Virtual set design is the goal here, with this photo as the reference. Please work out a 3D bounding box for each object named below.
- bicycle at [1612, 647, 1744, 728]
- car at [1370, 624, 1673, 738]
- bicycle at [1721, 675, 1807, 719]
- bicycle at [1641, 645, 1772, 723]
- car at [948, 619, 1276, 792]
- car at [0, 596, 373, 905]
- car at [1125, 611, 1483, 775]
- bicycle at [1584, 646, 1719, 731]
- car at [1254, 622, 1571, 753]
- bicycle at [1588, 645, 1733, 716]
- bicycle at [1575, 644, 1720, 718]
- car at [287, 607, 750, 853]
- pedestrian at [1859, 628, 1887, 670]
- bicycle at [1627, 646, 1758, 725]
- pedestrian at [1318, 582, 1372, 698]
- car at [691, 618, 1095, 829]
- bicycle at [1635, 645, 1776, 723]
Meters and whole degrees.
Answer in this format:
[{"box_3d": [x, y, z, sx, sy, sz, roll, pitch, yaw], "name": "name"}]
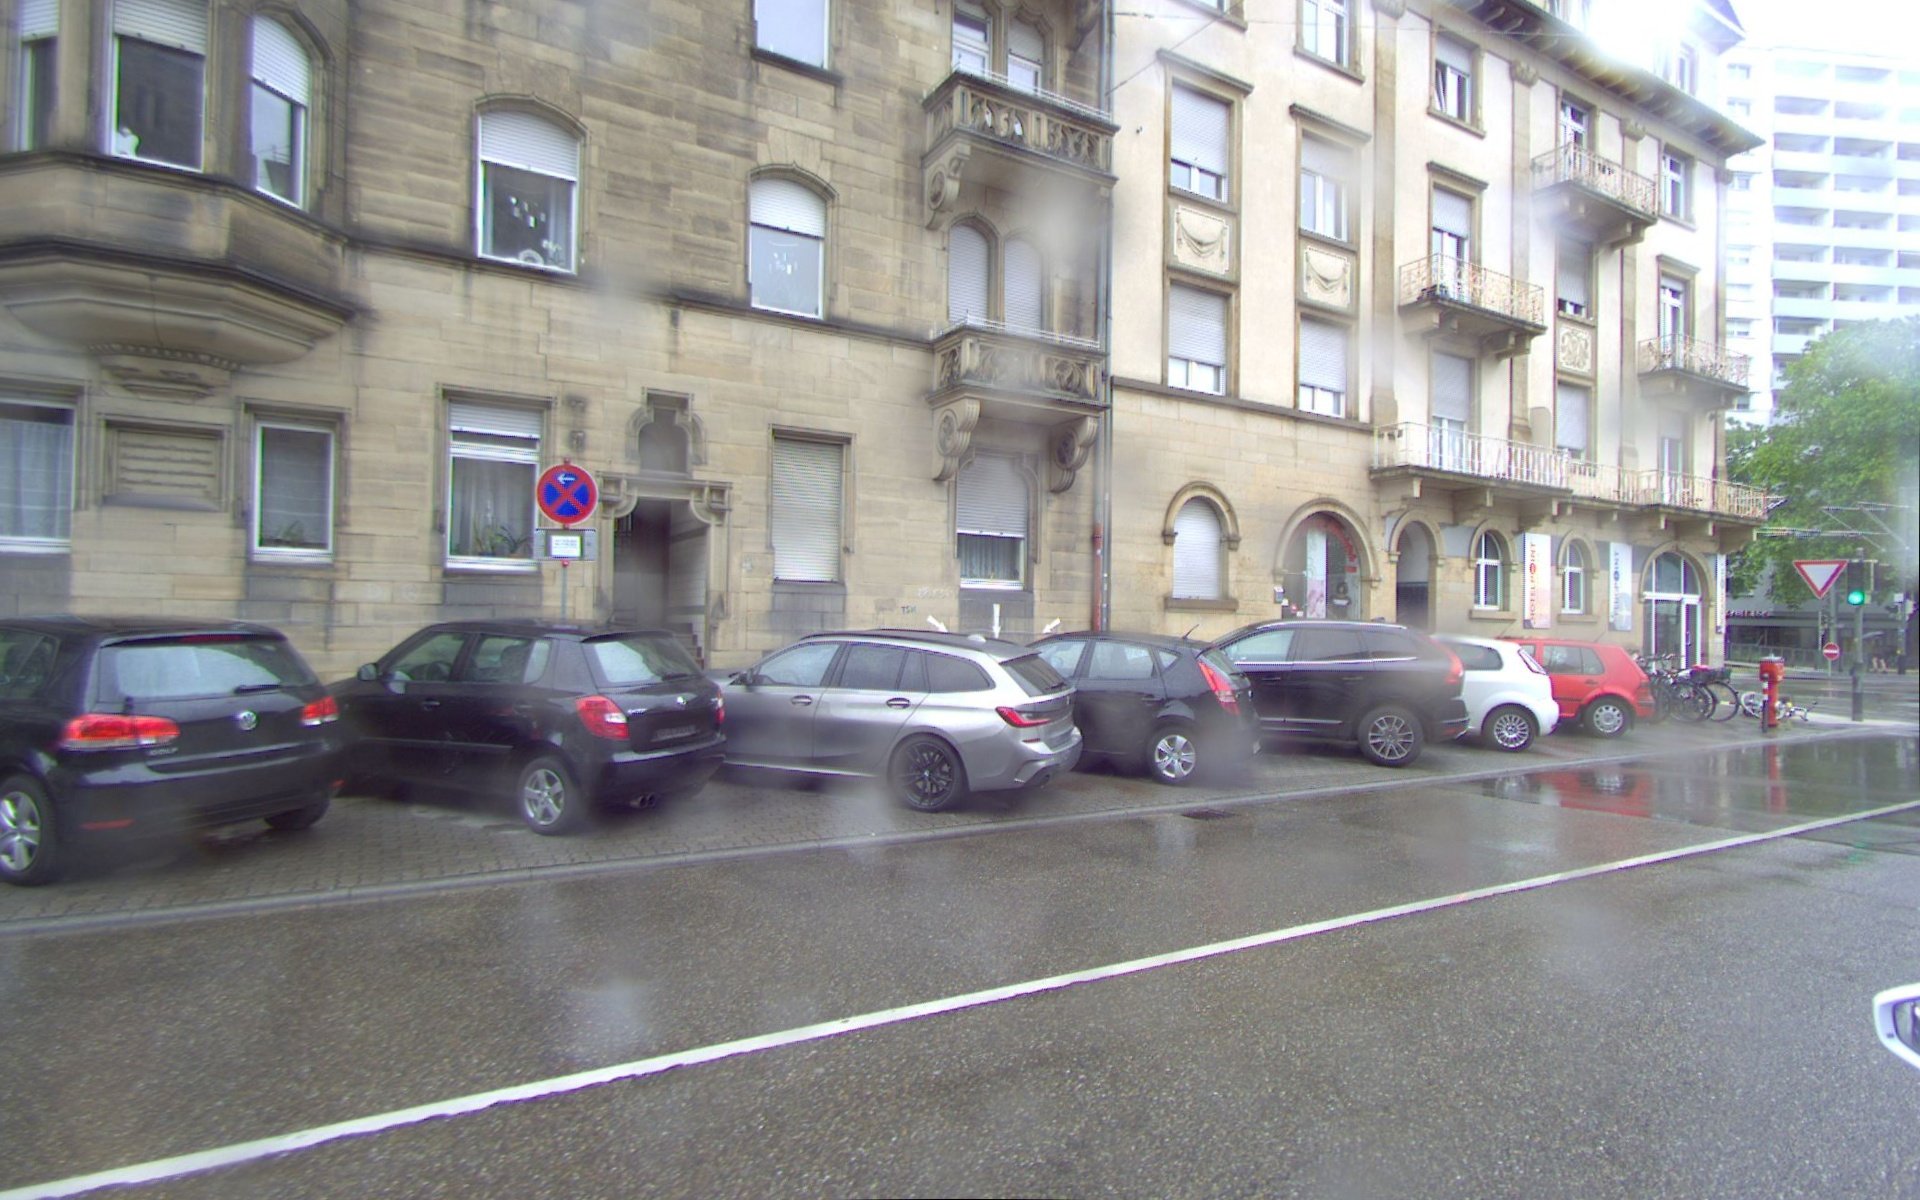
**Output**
[{"box_3d": [12.602, 1.506, 17.700, 0.469, 1.200, 1.800, 2, 2, -31], "name": "bicycle"}, {"box_3d": [8.797, 1.221, 16.125, 3.920, 1.528, 1.804, 2, 0, 18], "name": "car"}, {"box_3d": [15.354, 1.831, 19.234, 1.024, 0.672, 1.476, 3, 0, 29], "name": "bicycle"}, {"box_3d": [13.835, 1.526, 18.685, 0.432, 1.347, 1.969, 1, -2, -27], "name": "bicycle"}, {"box_3d": [1.706, 1.050, 11.098, 3.246, 1.545, 1.700, 2, 0, 22], "name": "car"}, {"box_3d": [-6.031, 0.797, 6.742, 3.685, 1.564, 1.628, 2, 0, 20], "name": "car"}, {"box_3d": [4.300, 1.067, 12.839, 4.005, 1.714, 1.764, 2, 0, 21], "name": "car"}, {"box_3d": [11.738, 1.468, 17.129, 0.592, 1.200, 1.805, 1, 2, -24], "name": "bicycle"}, {"box_3d": [6.367, 1.168, 14.511, 3.916, 1.554, 1.704, 2, 0, 21], "name": "car"}, {"box_3d": [14.199, 1.600, 20.446, 0.633, 1.364, 2.326, 1, -3, -34], "name": "bicycle"}, {"box_3d": [13.671, 1.576, 20.052, 0.633, 1.364, 2.326, 1, -2, -34], "name": "bicycle"}, {"box_3d": [-3.614, 0.895, 8.241, 3.378, 1.564, 1.627, 2, 0, 25], "name": "car"}, {"box_3d": [40.937, 2.185, 45.036, 0.666, 1.862, 0.640, 0, -2, 19], "name": "pedestrian"}, {"box_3d": [13.056, 1.497, 17.969, 0.463, 1.200, 1.800, 2, 2, -31], "name": "bicycle"}, {"box_3d": [8.085, 0.838, 21.141, 0.750, 2.370, 0.847, 1, -1, -7], "name": "pedestrian"}, {"box_3d": [-0.590, 1.012, 9.450, 3.362, 1.564, 1.701, 2, 0, 21], "name": "car"}, {"box_3d": [13.502, 1.495, 18.265, 0.470, 1.200, 1.968, 2, 2, -32], "name": "bicycle"}]
